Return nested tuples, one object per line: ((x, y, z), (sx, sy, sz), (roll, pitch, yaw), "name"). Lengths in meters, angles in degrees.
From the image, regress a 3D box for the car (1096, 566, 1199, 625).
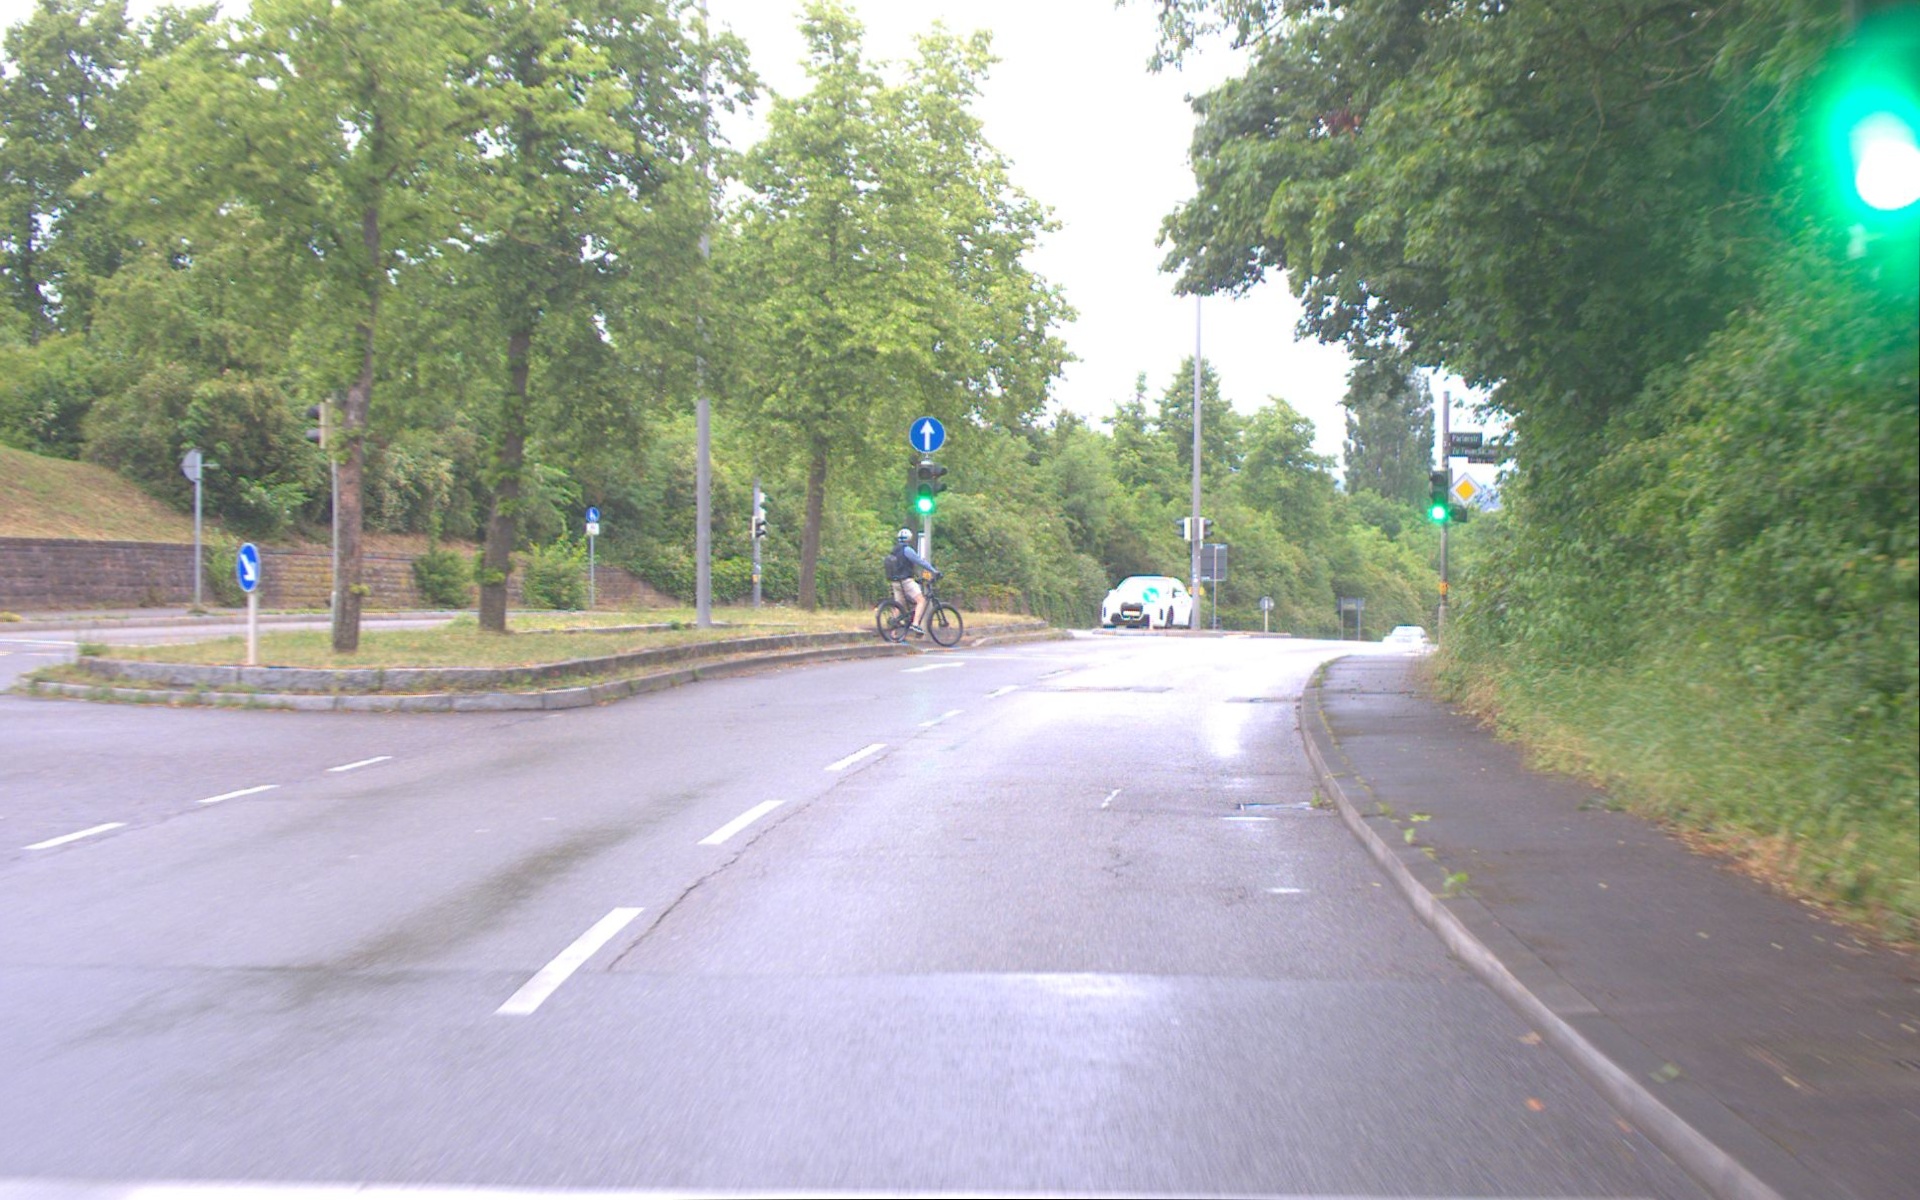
((5.580, -0.114, 101.744), (1.946, 1.630, 5.001), (1, 0, 16), "car")

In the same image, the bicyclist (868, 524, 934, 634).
((-0.960, -0.332, 55.795), (0.799, 1.746, 0.724), (2, -3, -45), "bicyclist")

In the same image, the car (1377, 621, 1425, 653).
((21.594, 1.812, 168.113), (1.779, 1.467, 4.641), (2, -1, 14), "car")

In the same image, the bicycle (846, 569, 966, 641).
((-0.872, 0.086, 55.897), (2.134, 1.139, 0.553), (1, 0, -45), "bicycle")
